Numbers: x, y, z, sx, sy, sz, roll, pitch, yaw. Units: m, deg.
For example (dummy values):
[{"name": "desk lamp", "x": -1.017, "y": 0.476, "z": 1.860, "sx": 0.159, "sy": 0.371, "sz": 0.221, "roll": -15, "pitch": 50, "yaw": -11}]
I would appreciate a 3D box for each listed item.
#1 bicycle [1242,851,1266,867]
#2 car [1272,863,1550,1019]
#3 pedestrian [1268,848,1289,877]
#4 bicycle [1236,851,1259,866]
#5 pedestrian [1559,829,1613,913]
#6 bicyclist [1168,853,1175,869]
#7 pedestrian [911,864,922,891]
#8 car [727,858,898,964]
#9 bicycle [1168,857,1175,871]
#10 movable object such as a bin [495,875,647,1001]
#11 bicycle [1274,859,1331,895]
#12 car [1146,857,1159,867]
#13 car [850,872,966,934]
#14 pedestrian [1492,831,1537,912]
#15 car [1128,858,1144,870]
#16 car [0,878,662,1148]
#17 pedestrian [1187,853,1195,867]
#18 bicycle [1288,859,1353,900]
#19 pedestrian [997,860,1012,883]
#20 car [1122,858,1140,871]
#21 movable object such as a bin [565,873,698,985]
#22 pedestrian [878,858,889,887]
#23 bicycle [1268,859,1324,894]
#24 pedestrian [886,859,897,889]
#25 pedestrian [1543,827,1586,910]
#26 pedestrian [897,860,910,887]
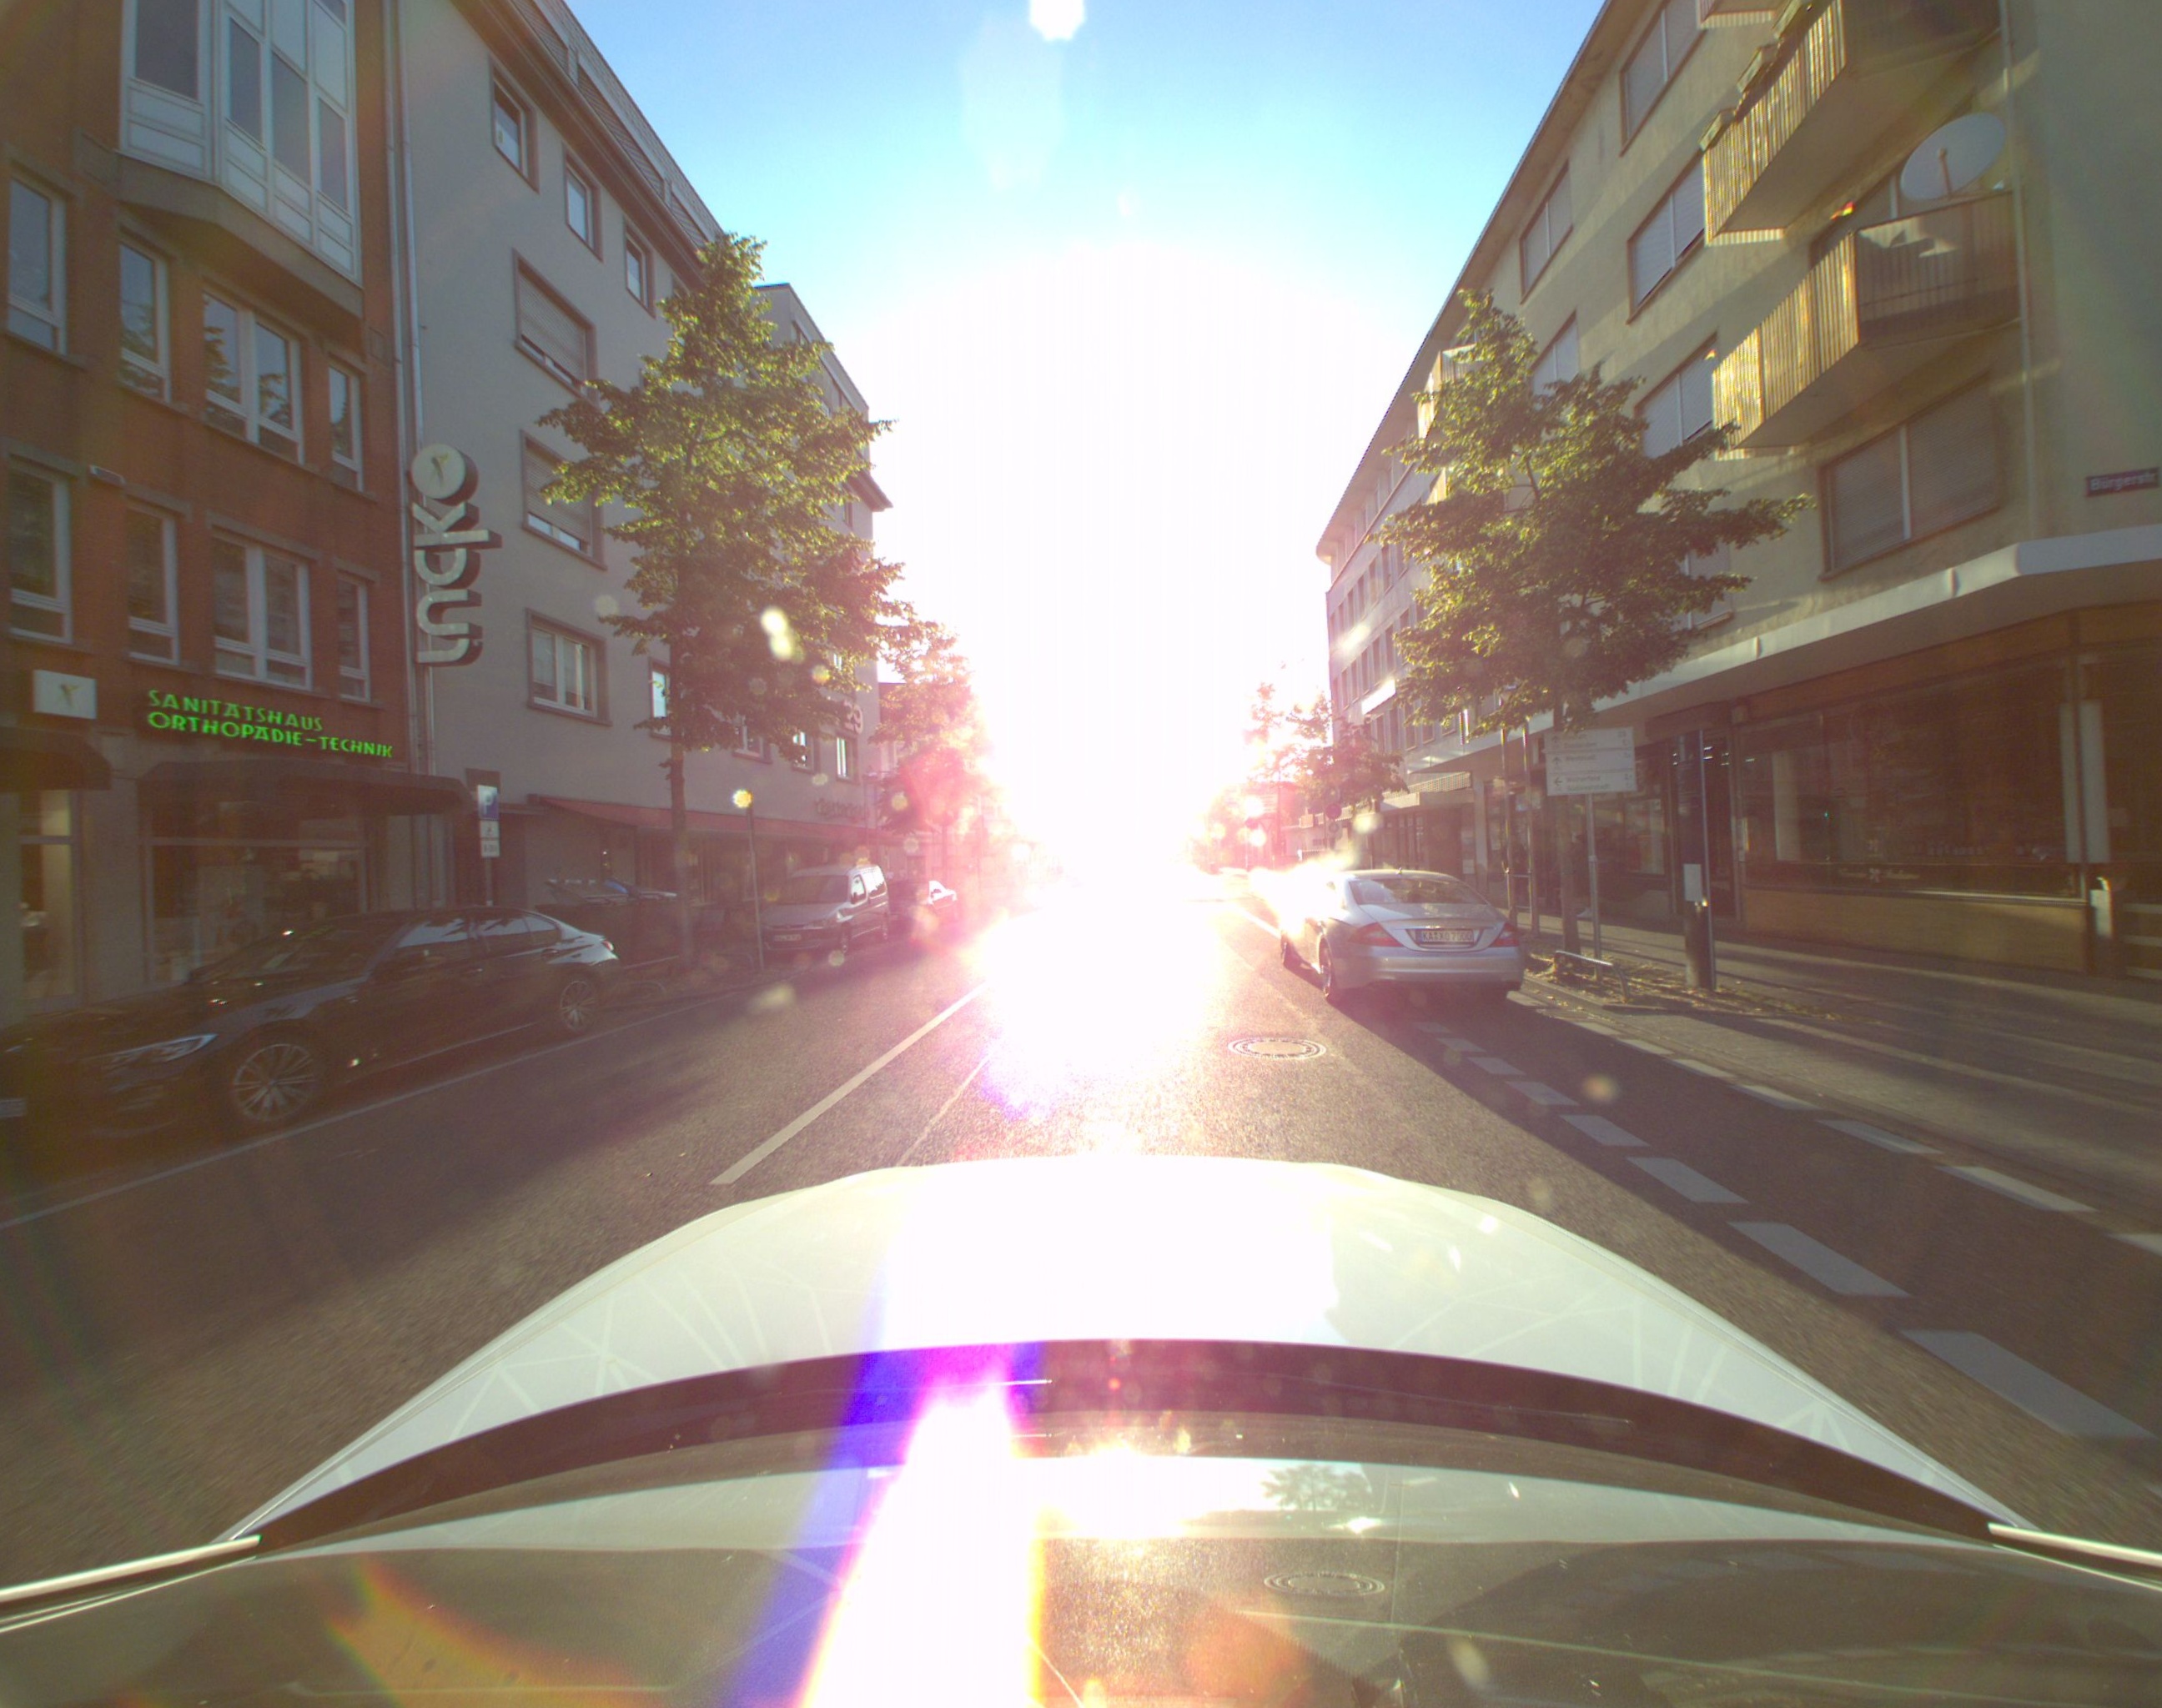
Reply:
[{"name": "bicycle", "x": 17.396, "y": 0.496, "z": 81.804, "sx": 2.211, "sy": 1.523, "sz": 0.682, "roll": -3, "pitch": -1, "yaw": 6}, {"name": "car", "x": 3.568, "y": 0.834, "z": 9.788, "sx": 1.792, "sy": 1.378, "sz": 4.557, "roll": -1, "pitch": 0, "yaw": 4}, {"name": "pedestrian", "x": 11.915, "y": 0.512, "z": 49.110, "sx": 0.796, "sy": 1.726, "sz": 1.000, "roll": -5, "pitch": -2, "yaw": 33}, {"name": "bicycle", "x": 17.354, "y": 0.475, "z": 84.968, "sx": 2.209, "sy": 1.523, "sz": 0.683, "roll": -3, "pitch": -1, "yaw": 10}, {"name": "pedestrian", "x": 10.207, "y": 0.334, "z": 16.486, "sx": 0.638, "sy": 1.660, "sz": 0.778, "roll": -1, "pitch": 0, "yaw": 5}, {"name": "bicyclist", "x": 9.602, "y": 0.730, "z": 86.324, "sx": 0.675, "sy": 1.707, "sz": 0.670, "roll": -3, "pitch": -1, "yaw": 6}, {"name": "pedestrian", "x": -11.050, "y": 1.574, "z": 54.710, "sx": 0.647, "sy": 1.778, "sz": 0.668, "roll": -3, "pitch": -1, "yaw": -17}, {"name": "car", "x": -5.272, "y": 1.027, "z": 16.658, "sx": 1.908, "sy": 1.787, "sz": 4.150, "roll": -3, "pitch": 0, "yaw": 2}, {"name": "bicycle", "x": 9.638, "y": 1.059, "z": 86.417, "sx": 0.675, "sy": 1.402, "sz": 2.234, "roll": -3, "pitch": 0, "yaw": 7}, {"name": "movable object such as a bin", "x": -7.337, "y": 1.158, "z": 11.825, "sx": 1.275, "sy": 1.673, "sz": 1.370, "roll": 1, "pitch": 0, "yaw": 3}, {"name": "bicycle", "x": 7.976, "y": 0.813, "z": 29.376, "sx": 1.902, "sy": 1.203, "sz": 0.471, "roll": -3, "pitch": -1, "yaw": 6}, {"name": "car", "x": 13.070, "y": 1.390, "z": 149.319, "sx": 2.292, "sy": 1.678, "sz": 5.540, "roll": -3, "pitch": 0, "yaw": 5}, {"name": "car", "x": -4.672, "y": 1.282, "z": 22.701, "sx": 1.906, "sy": 1.386, "sz": 4.387, "roll": -3, "pitch": 0, "yaw": 5}, {"name": "pedestrian", "x": 9.859, "y": 0.382, "z": 18.528, "sx": 0.704, "sy": 1.807, "sz": 0.651, "roll": -1, "pitch": 0, "yaw": 5}, {"name": "car", "x": 8.362, "y": 1.441, "z": 123.693, "sx": 2.292, "sy": 1.678, "sz": 5.540, "roll": -3, "pitch": 0, "yaw": 5}, {"name": "car", "x": -6.208, "y": 1.103, "z": 7.528, "sx": 1.906, "sy": 1.511, "sz": 4.645, "roll": -3, "pitch": 0, "yaw": 5}, {"name": "pedestrian", "x": 15.115, "y": 0.836, "z": 111.927, "sx": 0.797, "sy": 1.786, "sz": 0.999, "roll": -4, "pitch": -2, "yaw": 19}, {"name": "bicycle", "x": 7.679, "y": 0.805, "z": 26.132, "sx": 1.910, "sy": 1.203, "sz": 0.469, "roll": -2, "pitch": -1, "yaw": -6}, {"name": "pedestrian", "x": -5.492, "y": 1.249, "z": 58.237, "sx": 0.869, "sy": 1.548, "sz": 0.695, "roll": -3, "pitch": -1, "yaw": -17}, {"name": "car", "x": 7.178, "y": 1.483, "z": 116.162, "sx": 2.292, "sy": 1.678, "sz": 5.540, "roll": -3, "pitch": 0, "yaw": 5}, {"name": "movable object such as a bin", "x": -7.262, "y": 1.167, "z": 13.257, "sx": 1.276, "sy": 1.673, "sz": 1.441, "roll": 1, "pitch": 0, "yaw": 3}, {"name": "pedestrian", "x": -13.099, "y": 1.244, "z": 54.135, "sx": 0.498, "sy": 1.928, "sz": 0.570, "roll": -2, "pitch": -1, "yaw": -30}, {"name": "bicycle", "x": 7.875, "y": 0.811, "z": 29.881, "sx": 1.902, "sy": 1.203, "sz": 0.471, "roll": -3, "pitch": -1, "yaw": 6}, {"name": "pedestrian", "x": -12.690, "y": 1.330, "z": 54.524, "sx": 0.531, "sy": 1.928, "sz": 0.634, "roll": -2, "pitch": -1, "yaw": -30}, {"name": "pedestrian", "x": 10.522, "y": 0.304, "z": 17.727, "sx": 0.581, "sy": 1.782, "sz": 0.526, "roll": -1, "pitch": 0, "yaw": -15}, {"name": "pedestrian", "x": -11.838, "y": 1.275, "z": 54.364, "sx": 0.699, "sy": 1.745, "sz": 0.636, "roll": -3, "pitch": -1, "yaw": -17}]
